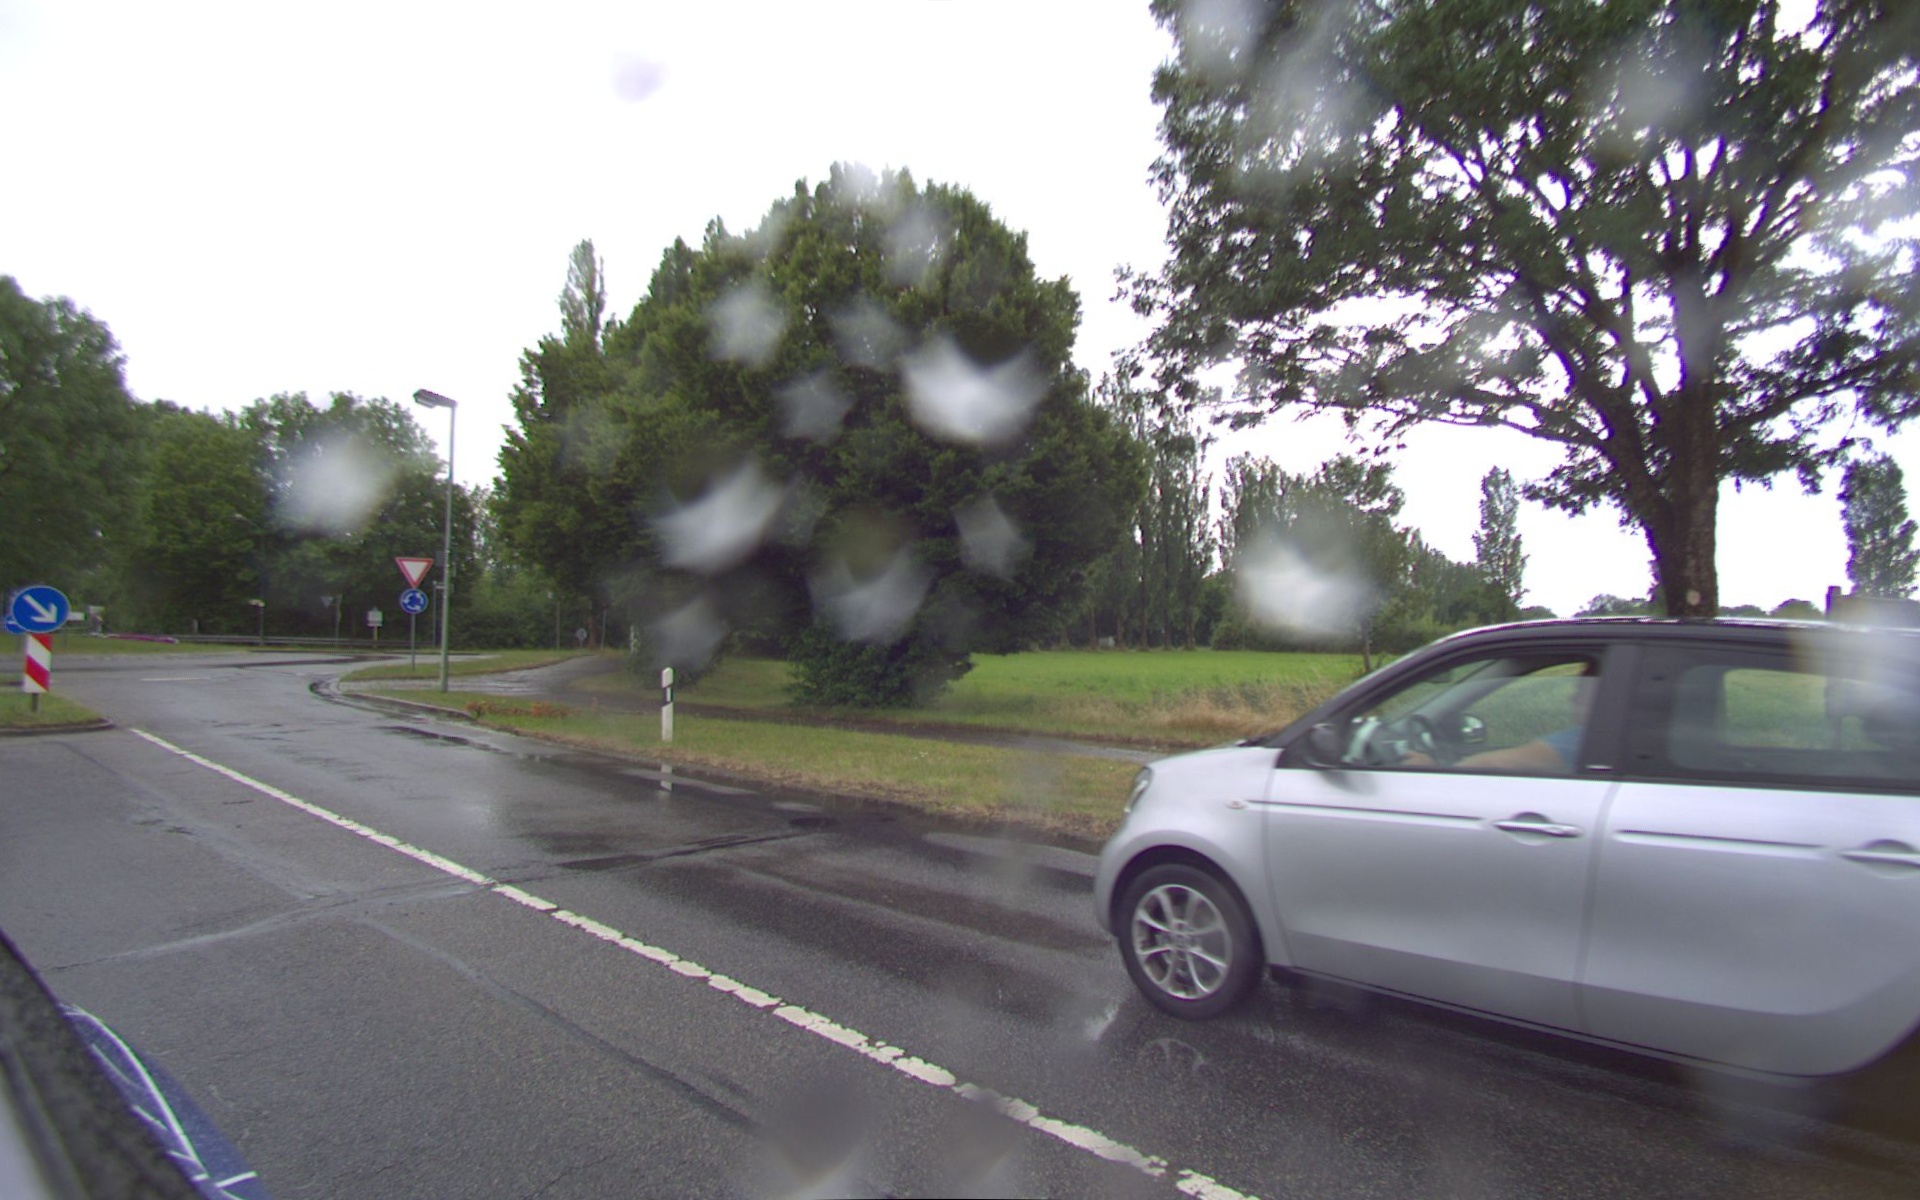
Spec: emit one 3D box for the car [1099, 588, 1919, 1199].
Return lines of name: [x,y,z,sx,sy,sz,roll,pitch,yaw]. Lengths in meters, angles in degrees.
car: [2.500,0.788,3.349,3.732,1.510,1.658,-1,-5,41]
